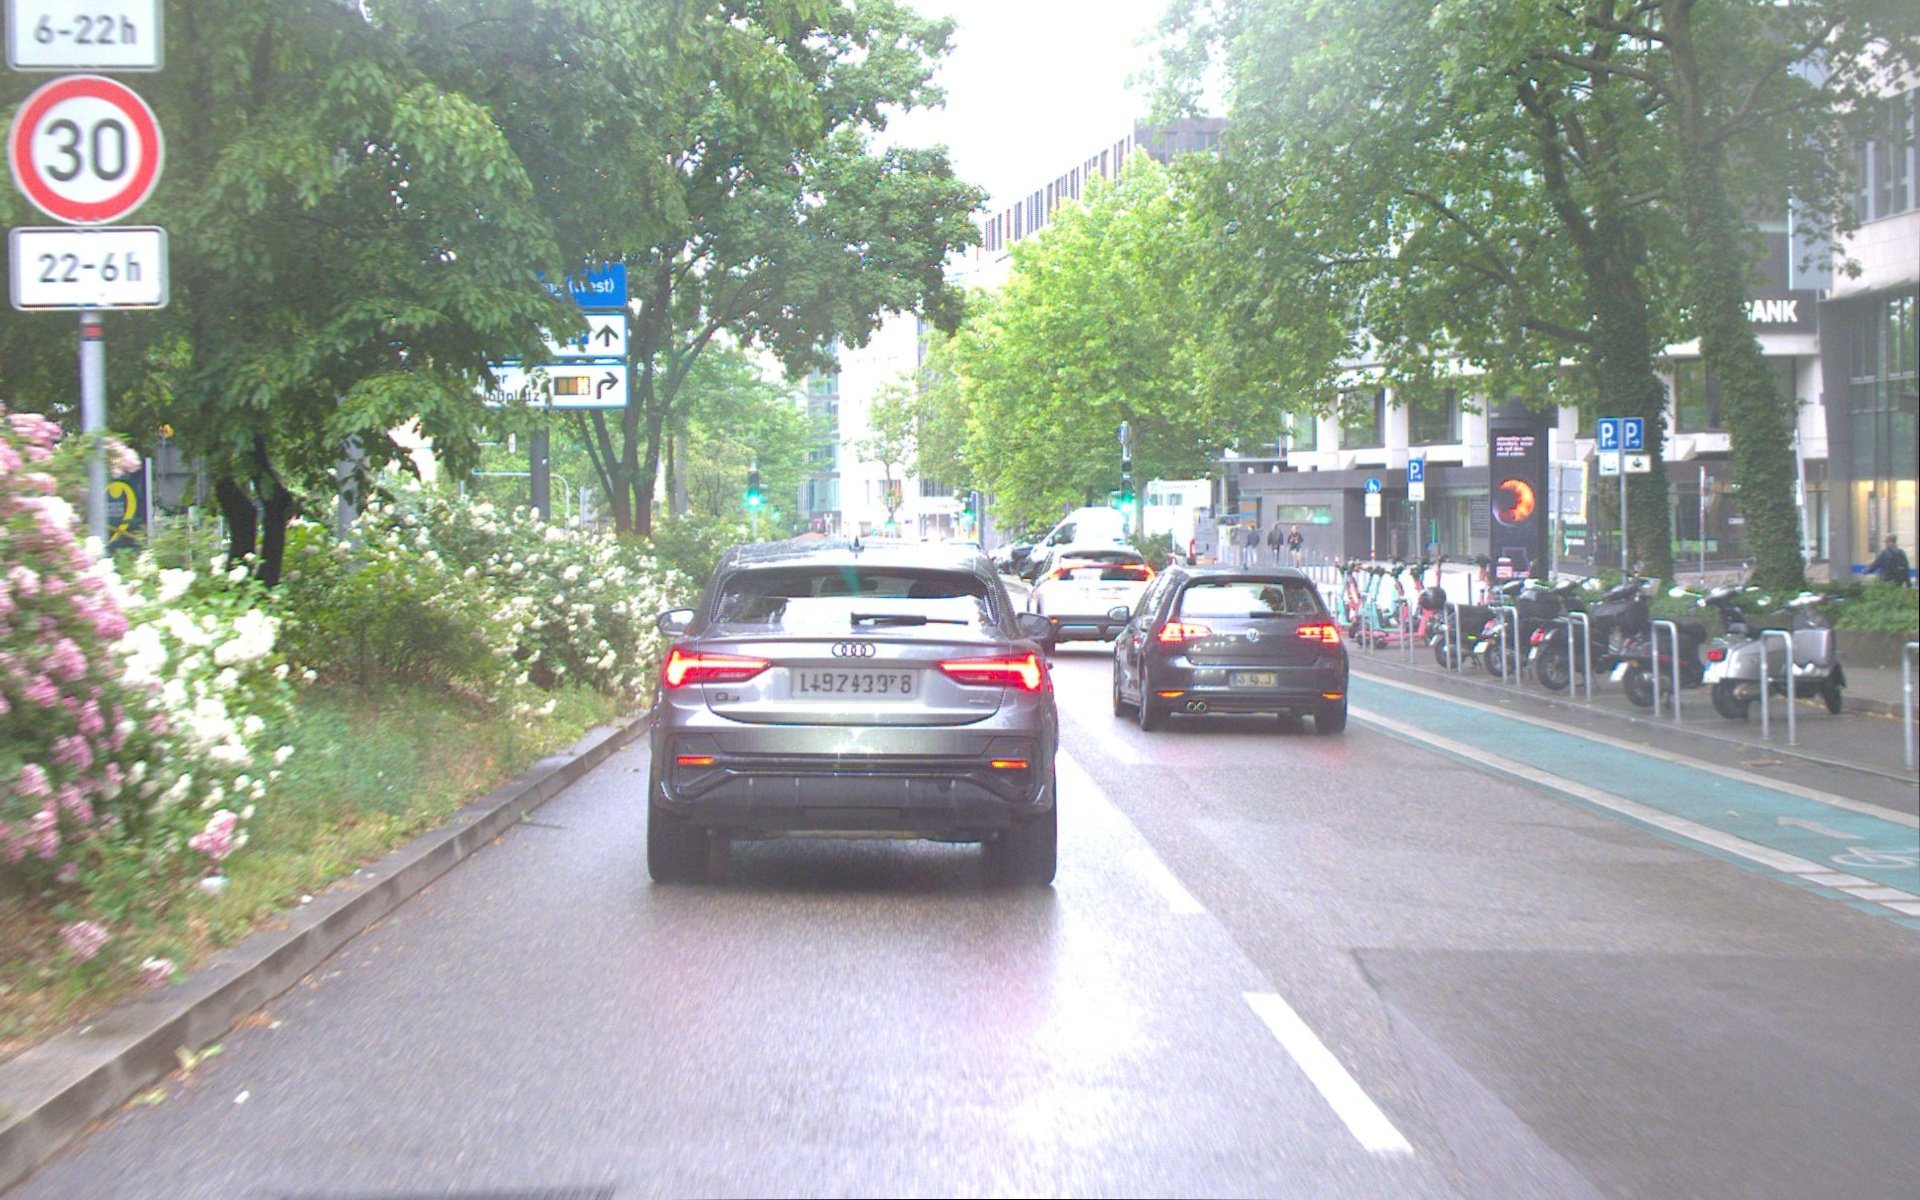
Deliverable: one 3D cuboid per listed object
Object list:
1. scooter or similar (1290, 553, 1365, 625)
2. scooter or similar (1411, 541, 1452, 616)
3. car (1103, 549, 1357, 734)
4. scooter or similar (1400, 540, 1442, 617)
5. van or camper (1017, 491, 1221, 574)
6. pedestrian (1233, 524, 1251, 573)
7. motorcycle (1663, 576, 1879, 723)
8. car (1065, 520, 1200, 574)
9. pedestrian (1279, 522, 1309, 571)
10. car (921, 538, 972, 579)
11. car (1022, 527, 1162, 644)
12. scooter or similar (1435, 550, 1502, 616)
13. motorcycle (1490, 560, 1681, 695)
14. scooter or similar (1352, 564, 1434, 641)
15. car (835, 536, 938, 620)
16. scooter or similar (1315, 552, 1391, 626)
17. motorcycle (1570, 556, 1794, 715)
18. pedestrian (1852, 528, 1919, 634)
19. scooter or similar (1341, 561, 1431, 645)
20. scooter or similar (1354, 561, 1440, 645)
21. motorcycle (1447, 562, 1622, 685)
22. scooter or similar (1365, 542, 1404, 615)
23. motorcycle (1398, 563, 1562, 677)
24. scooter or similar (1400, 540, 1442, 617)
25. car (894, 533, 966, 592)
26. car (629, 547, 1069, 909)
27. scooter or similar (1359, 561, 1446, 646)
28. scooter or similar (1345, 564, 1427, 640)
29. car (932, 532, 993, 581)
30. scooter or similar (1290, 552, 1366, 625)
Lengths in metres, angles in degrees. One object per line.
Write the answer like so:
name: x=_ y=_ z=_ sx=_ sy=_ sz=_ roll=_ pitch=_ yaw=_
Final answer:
scooter or similar: x=6.613 y=-0.203 z=61.814 sx=1.290 sy=1.255 sz=0.489 roll=-1 pitch=3 yaw=11
scooter or similar: x=8.246 y=-0.379 z=60.145 sx=0.487 sy=1.255 sz=1.294 roll=-1 pitch=3 yaw=-1
car: x=2.333 y=0.316 z=30.683 sx=1.849 sy=1.518 sz=4.039 roll=0 pitch=1 yaw=-1
scooter or similar: x=7.894 y=-0.376 z=58.909 sx=0.487 sy=1.255 sz=1.294 roll=-1 pitch=3 yaw=-1
van or camper: x=4.982 y=-2.121 z=107.891 sx=6.074 sy=2.549 sz=2.102 roll=0 pitch=1 yaw=26
pedestrian: x=10.373 y=-1.889 z=126.435 sx=0.553 sy=1.799 sz=0.762 roll=1 pitch=0 yaw=-4
motorcycle: x=7.332 y=0.434 z=31.025 sx=2.054 sy=1.208 sz=0.685 roll=-3 pitch=1 yaw=-36
car: x=5.115 y=-1.584 z=101.724 sx=3.652 sy=1.542 sz=1.713 roll=1 pitch=1 yaw=18
pedestrian: x=11.595 y=-1.856 z=119.360 sx=0.805 sy=1.690 sz=1.187 roll=1 pitch=1 yaw=-5
car: x=-0.532 y=-1.571 z=130.094 sx=1.849 sy=1.518 sz=4.039 roll=0 pitch=1 yaw=-1
car: x=1.938 y=-0.244 z=51.522 sx=1.849 sy=1.663 sz=4.039 roll=0 pitch=1 yaw=-1
scooter or similar: x=9.238 y=-0.306 z=62.527 sx=0.487 sy=1.193 sz=1.293 roll=0 pitch=0 yaw=-32
motorcycle: x=6.874 y=0.288 z=37.775 sx=1.955 sy=1.369 sz=0.729 roll=-2 pitch=3 yaw=-22
scooter or similar: x=7.173 y=0.038 z=57.001 sx=1.289 sy=1.231 sz=0.489 roll=-1 pitch=3 yaw=1
car: x=-1.373 y=-0.435 z=64.229 sx=1.849 sy=1.518 sz=4.039 roll=0 pitch=1 yaw=-1
scooter or similar: x=6.936 y=-0.192 z=60.673 sx=1.290 sy=1.255 sz=0.489 roll=-1 pitch=3 yaw=11
motorcycle: x=7.011 y=0.332 z=33.382 sx=2.053 sy=1.423 sz=0.729 roll=-2 pitch=3 yaw=-22
pedestrian: x=16.544 y=-0.338 z=61.290 sx=0.917 sy=1.844 sz=1.277 roll=1 pitch=0 yaw=0
scooter or similar: x=6.796 y=0.045 z=54.858 sx=1.289 sy=1.274 sz=0.537 roll=-2 pitch=3 yaw=-12
scooter or similar: x=6.885 y=0.050 z=54.175 sx=1.289 sy=1.274 sz=0.537 roll=-1 pitch=3 yaw=3
motorcycle: x=6.885 y=0.272 z=41.209 sx=1.955 sy=1.369 sz=0.729 roll=-2 pitch=3 yaw=-22
scooter or similar: x=7.636 y=-0.396 z=61.842 sx=0.487 sy=1.255 sz=1.294 roll=-1 pitch=3 yaw=-1
motorcycle: x=6.728 y=0.252 z=44.482 sx=1.955 sy=1.369 sz=0.729 roll=-2 pitch=3 yaw=-17
scooter or similar: x=7.894 y=-0.376 z=58.909 sx=0.487 sy=1.255 sz=1.294 roll=-1 pitch=3 yaw=-1
car: x=-0.825 y=-1.012 z=91.787 sx=1.849 sy=1.518 sz=4.039 roll=0 pitch=1 yaw=-1
car: x=-0.540 y=0.512 z=16.557 sx=1.849 sy=1.518 sz=4.039 roll=0 pitch=1 yaw=-2
scooter or similar: x=6.911 y=0.052 z=53.731 sx=1.289 sy=1.274 sz=0.537 roll=-1 pitch=3 yaw=3
scooter or similar: x=7.154 y=0.034 z=57.746 sx=1.289 sy=1.231 sz=0.489 roll=-1 pitch=3 yaw=1
car: x=0.073 y=-1.390 z=109.918 sx=1.849 sy=1.518 sz=4.039 roll=0 pitch=1 yaw=-1
scooter or similar: x=6.550 y=-0.200 z=61.201 sx=1.290 sy=1.255 sz=0.489 roll=-1 pitch=3 yaw=11
